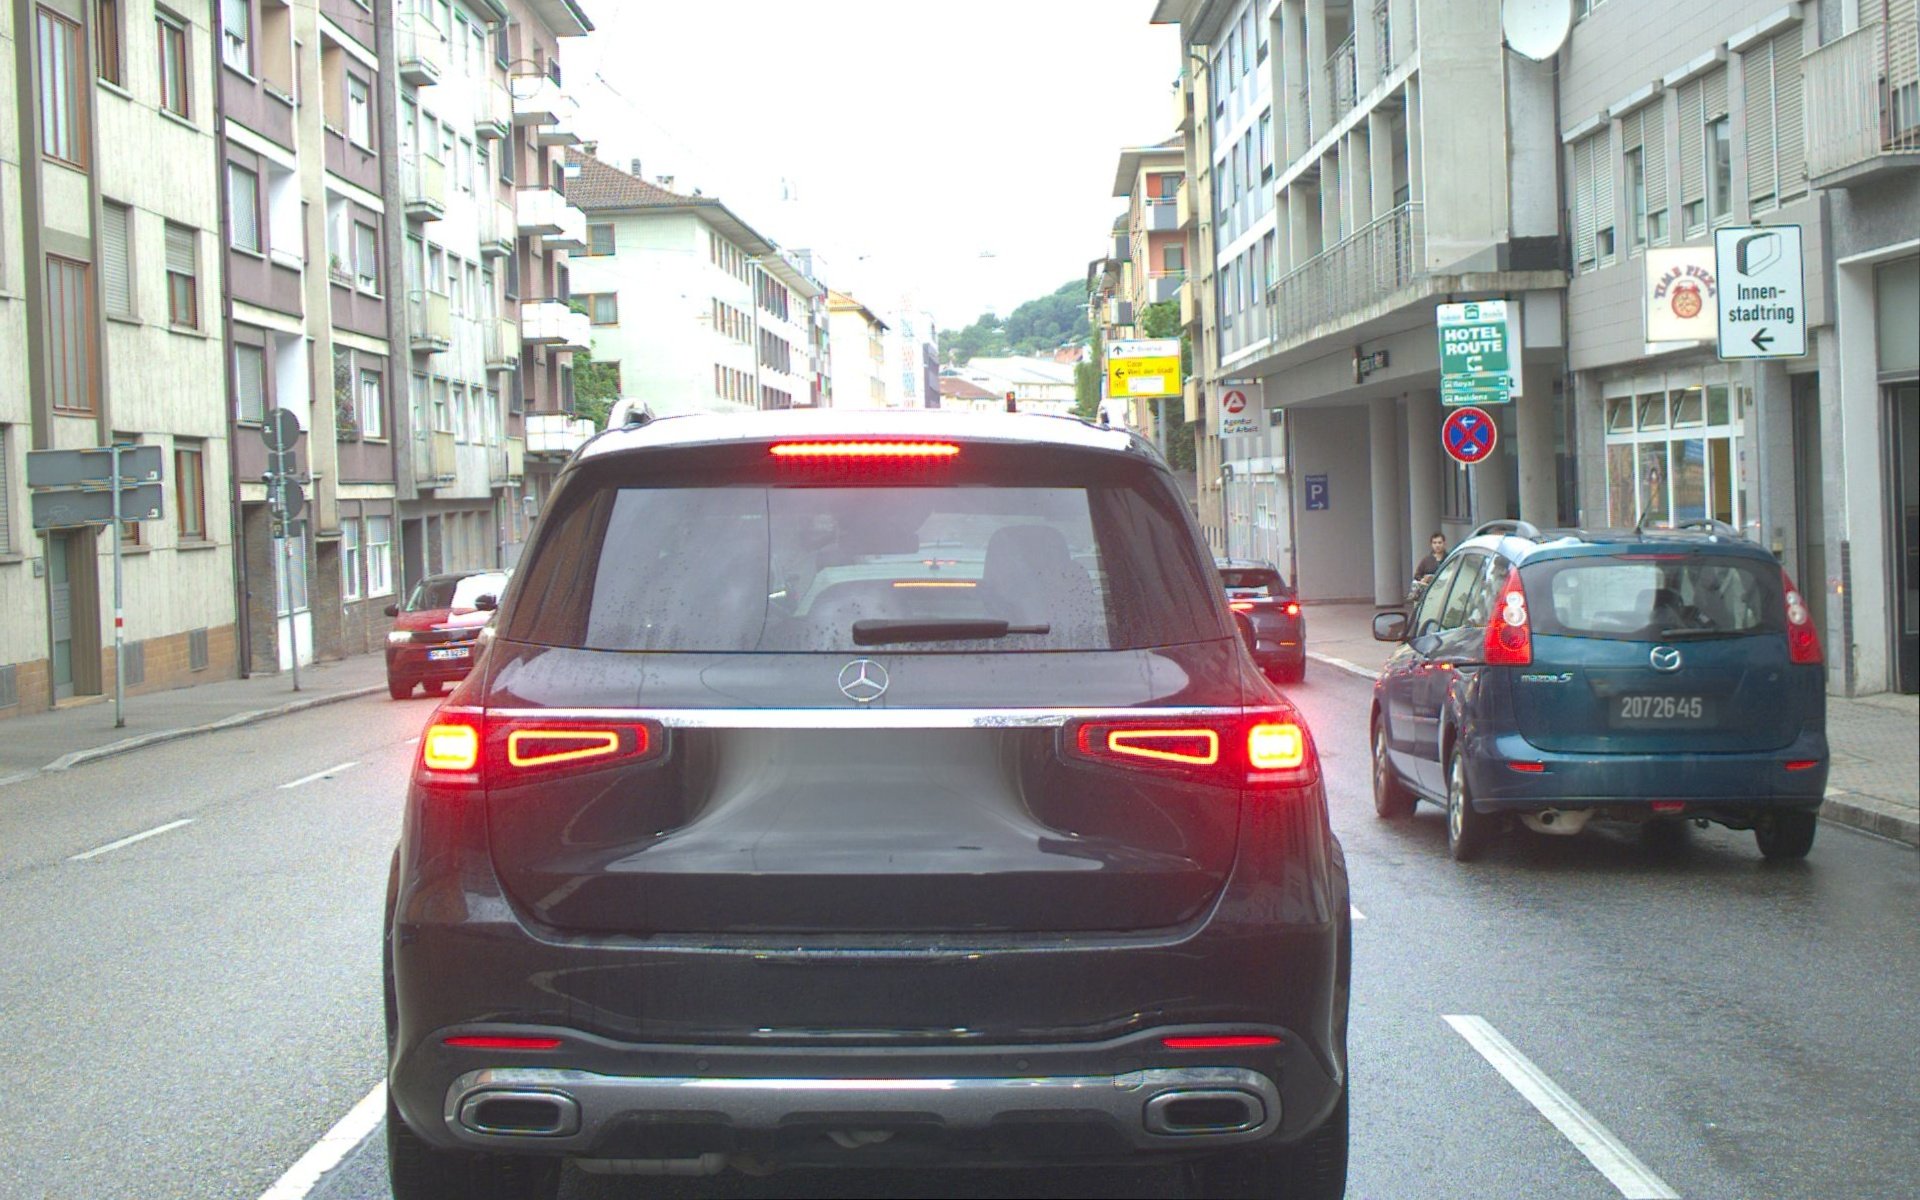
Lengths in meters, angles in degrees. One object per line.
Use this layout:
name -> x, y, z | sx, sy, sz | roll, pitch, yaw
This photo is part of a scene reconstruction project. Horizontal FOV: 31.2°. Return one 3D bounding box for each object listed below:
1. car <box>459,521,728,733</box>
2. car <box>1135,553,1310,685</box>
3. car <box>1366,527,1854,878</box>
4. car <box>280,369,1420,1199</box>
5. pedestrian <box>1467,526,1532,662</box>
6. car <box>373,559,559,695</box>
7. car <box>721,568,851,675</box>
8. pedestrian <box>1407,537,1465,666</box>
car -> -3.341, 0.192, 32.190 | 1.836, 1.721, 4.474 | -4, 1, 1
car -> 3.041, 0.183, 40.550 | 1.621, 1.425, 4.312 | 1, 1, -1
car -> 3.215, 0.434, 17.805 | 1.808, 1.600, 4.212 | 0, 1, 1
car -> -0.239, 0.468, 8.182 | 2.025, 1.799, 4.000 | 1, 1, -1
pedestrian -> 6.437, -0.078, 41.046 | 0.560, 1.573, 0.526 | -4, 1, -3
car -> -6.506, 0.316, 45.696 | 1.797, 1.579, 4.316 | -3, 1, 0
car -> -3.122, 0.355, 62.577 | 2.126, 1.715, 4.818 | -3, 1, -1
pedestrian -> 5.680, 0.016, 41.022 | 0.506, 1.495, 0.562 | -4, 1, -1
